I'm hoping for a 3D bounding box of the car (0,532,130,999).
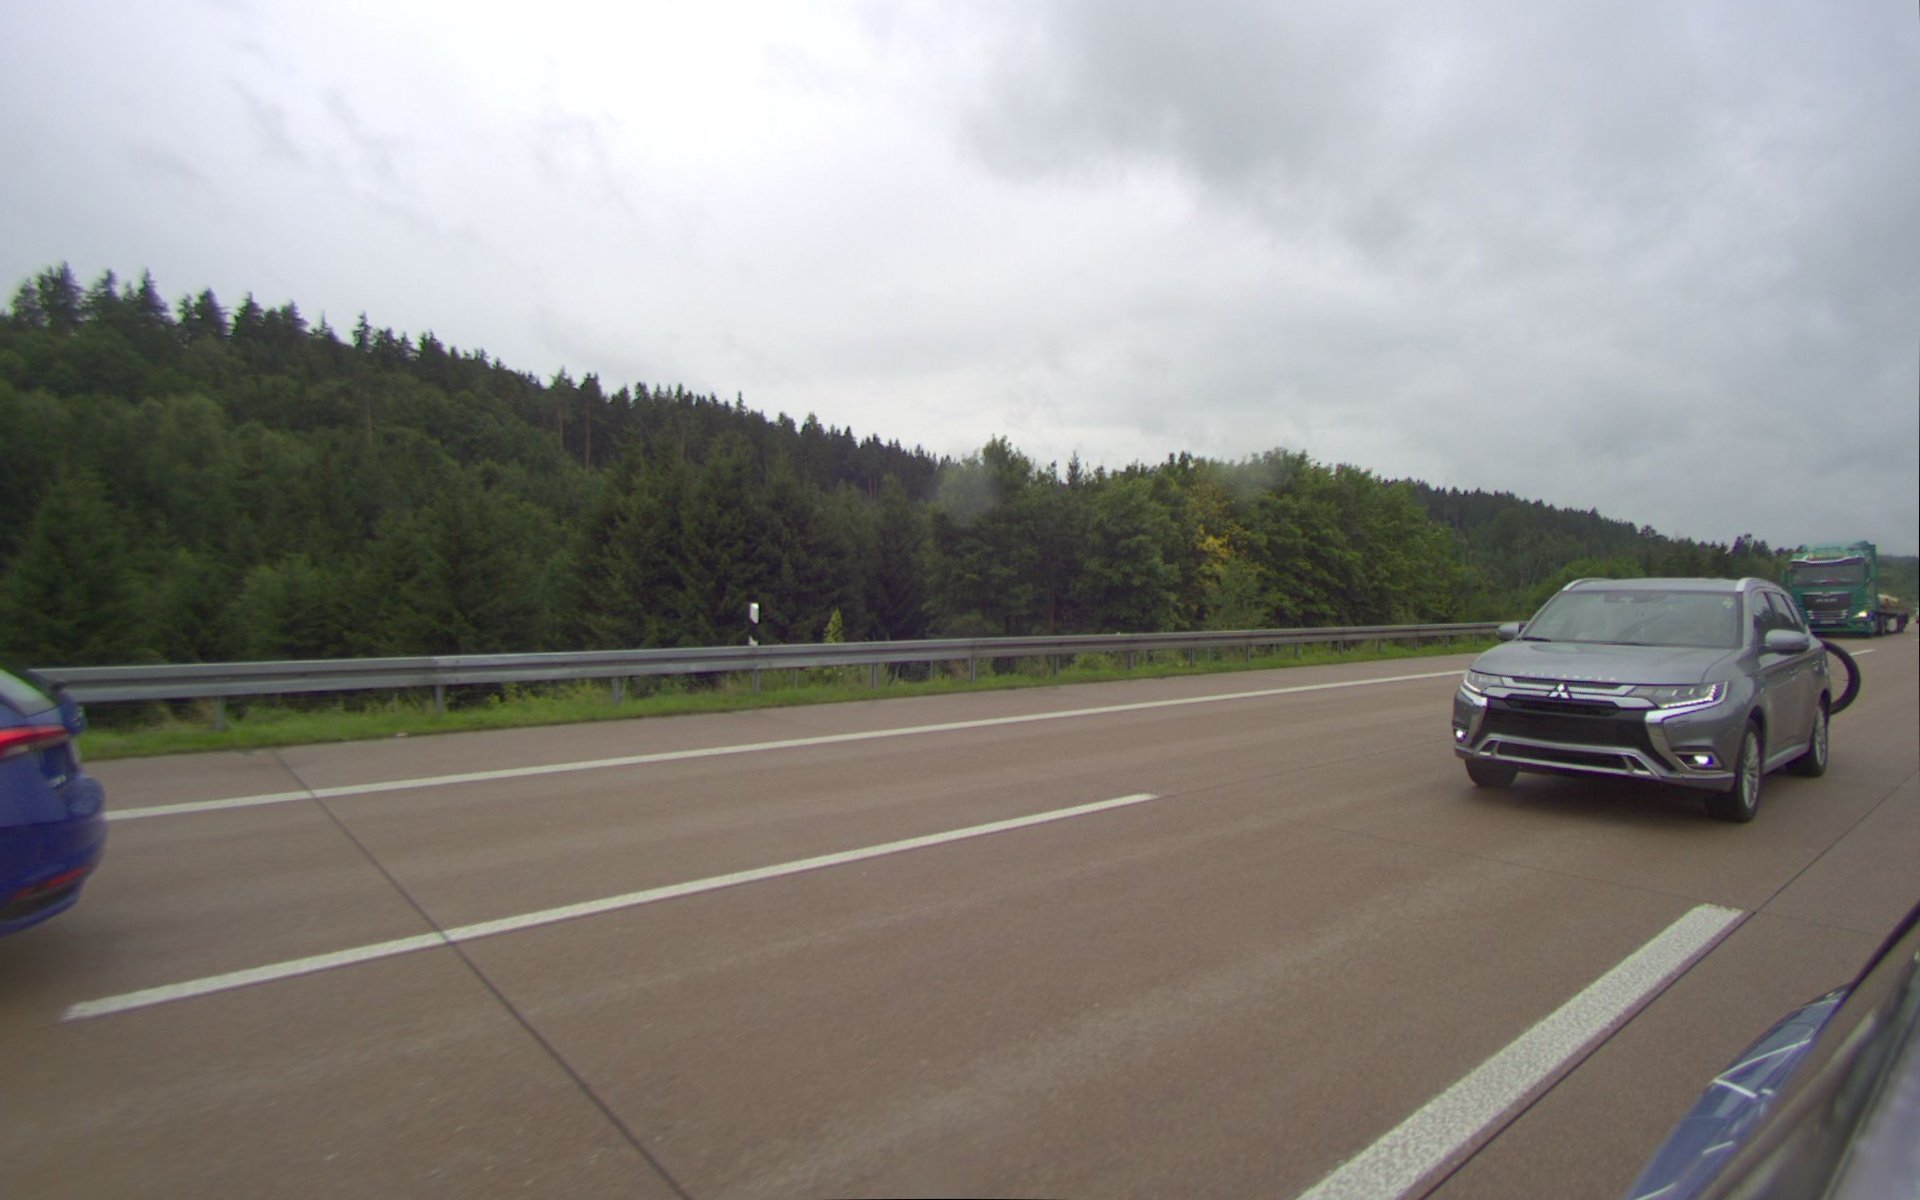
[{"bbox_3d":[-5.121,0.601,2.993,4.075,1.583,1.774,-2,1,-41],"label":"car"}]

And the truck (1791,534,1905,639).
[{"bbox_3d":[37.077,-0.605,42.181,6.872,4.014,2.900,-2,1,-43],"label":"truck"}]

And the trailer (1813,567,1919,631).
[{"bbox_3d":[42.808,-0.108,47.515,11.207,2.709,2.884,-1,0,-43],"label":"trailer"}]

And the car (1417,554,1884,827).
[{"bbox_3d":[6.168,0.467,8.646,5.721,1.612,1.996,-2,1,-42],"label":"car"}]
